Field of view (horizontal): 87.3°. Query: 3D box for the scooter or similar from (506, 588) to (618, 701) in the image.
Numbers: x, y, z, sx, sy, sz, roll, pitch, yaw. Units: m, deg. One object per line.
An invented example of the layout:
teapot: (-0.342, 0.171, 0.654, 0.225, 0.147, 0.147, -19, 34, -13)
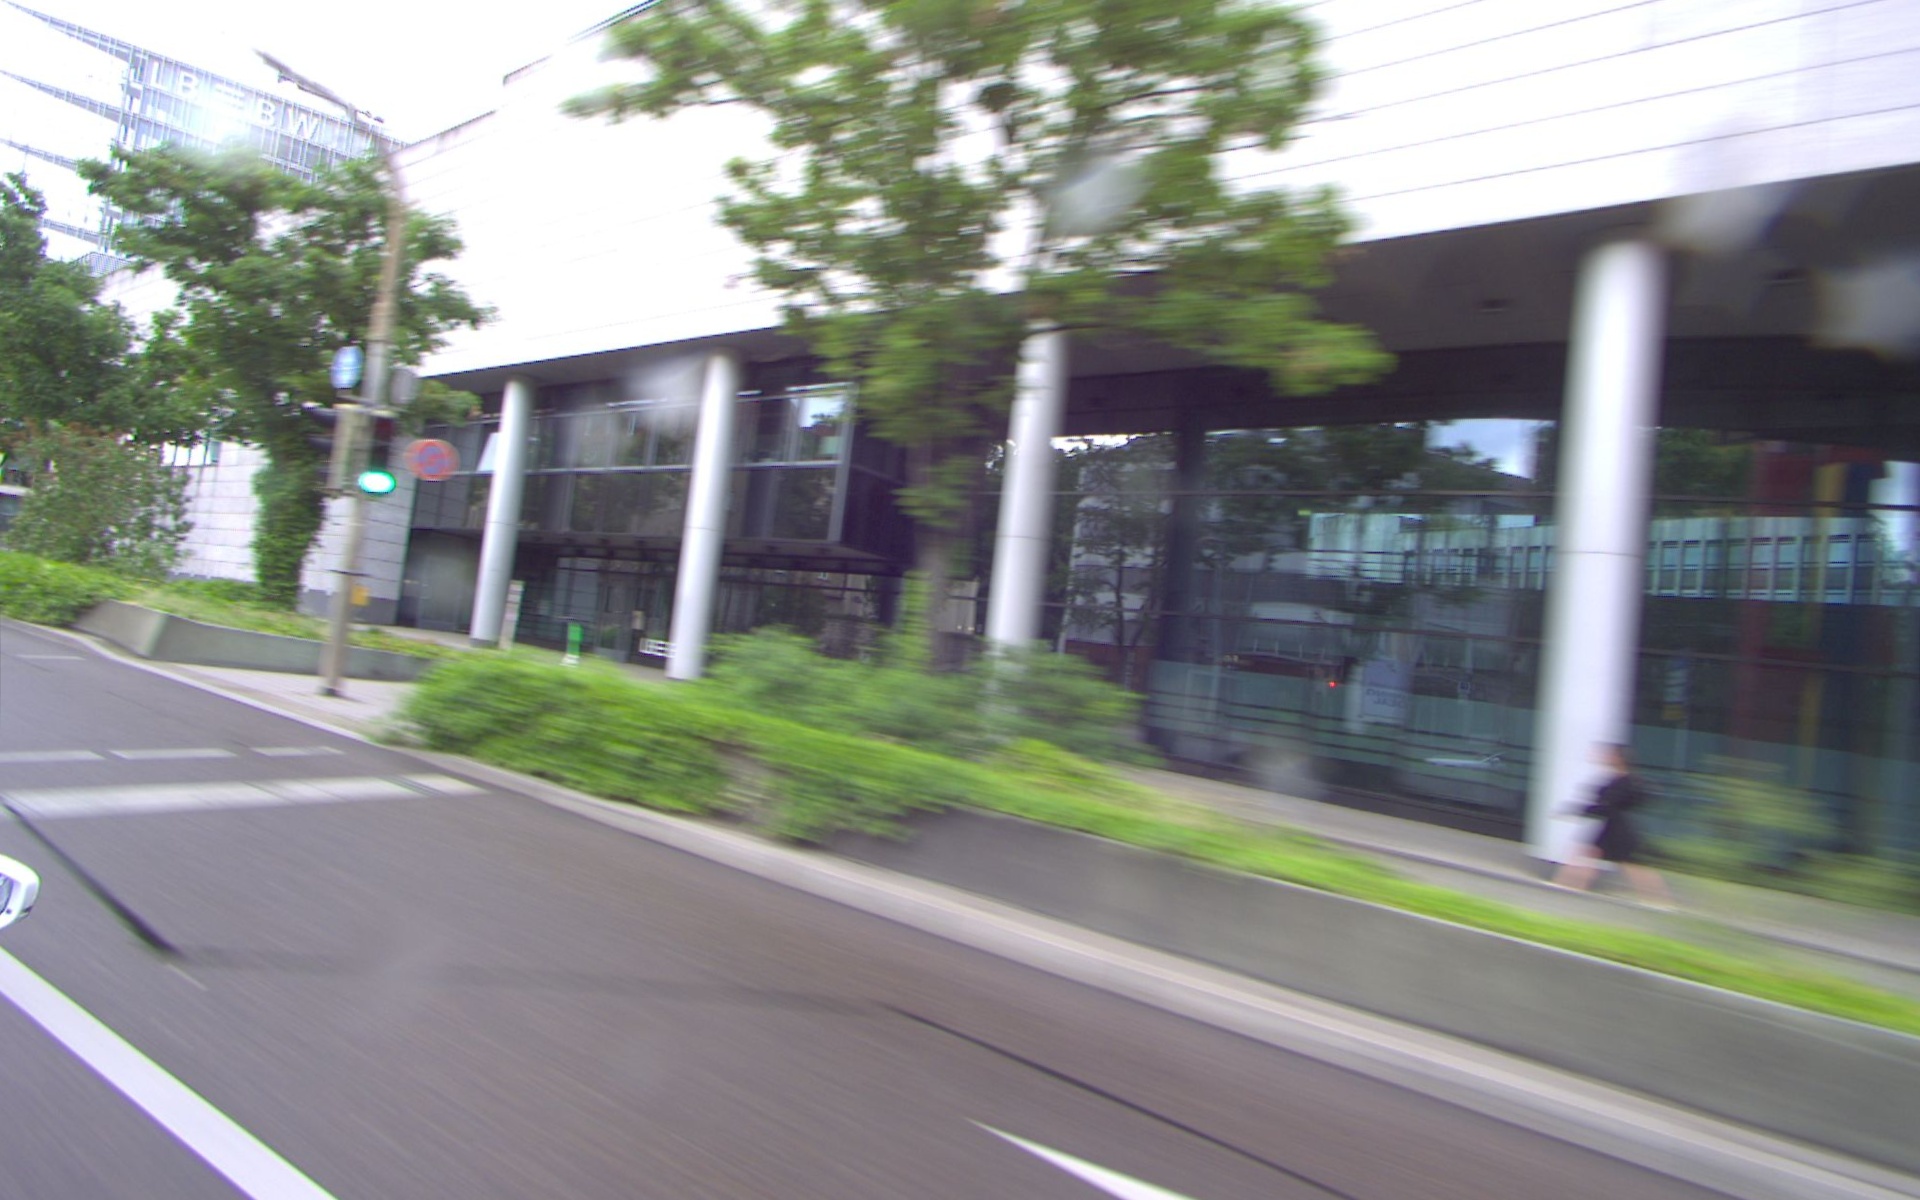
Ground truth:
scooter or similar: (-6.069, 0.698, 15.392, 0.495, 1.547, 1.325, 7, -3, 37)

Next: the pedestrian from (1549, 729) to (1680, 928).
pedestrian: (6.106, 2.081, 9.437, 0.828, 1.605, 0.972, 7, -1, 32)

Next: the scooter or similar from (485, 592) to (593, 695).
scooter or similar: (-6.512, 0.698, 15.625, 0.452, 1.424, 1.325, 7, -3, 37)
